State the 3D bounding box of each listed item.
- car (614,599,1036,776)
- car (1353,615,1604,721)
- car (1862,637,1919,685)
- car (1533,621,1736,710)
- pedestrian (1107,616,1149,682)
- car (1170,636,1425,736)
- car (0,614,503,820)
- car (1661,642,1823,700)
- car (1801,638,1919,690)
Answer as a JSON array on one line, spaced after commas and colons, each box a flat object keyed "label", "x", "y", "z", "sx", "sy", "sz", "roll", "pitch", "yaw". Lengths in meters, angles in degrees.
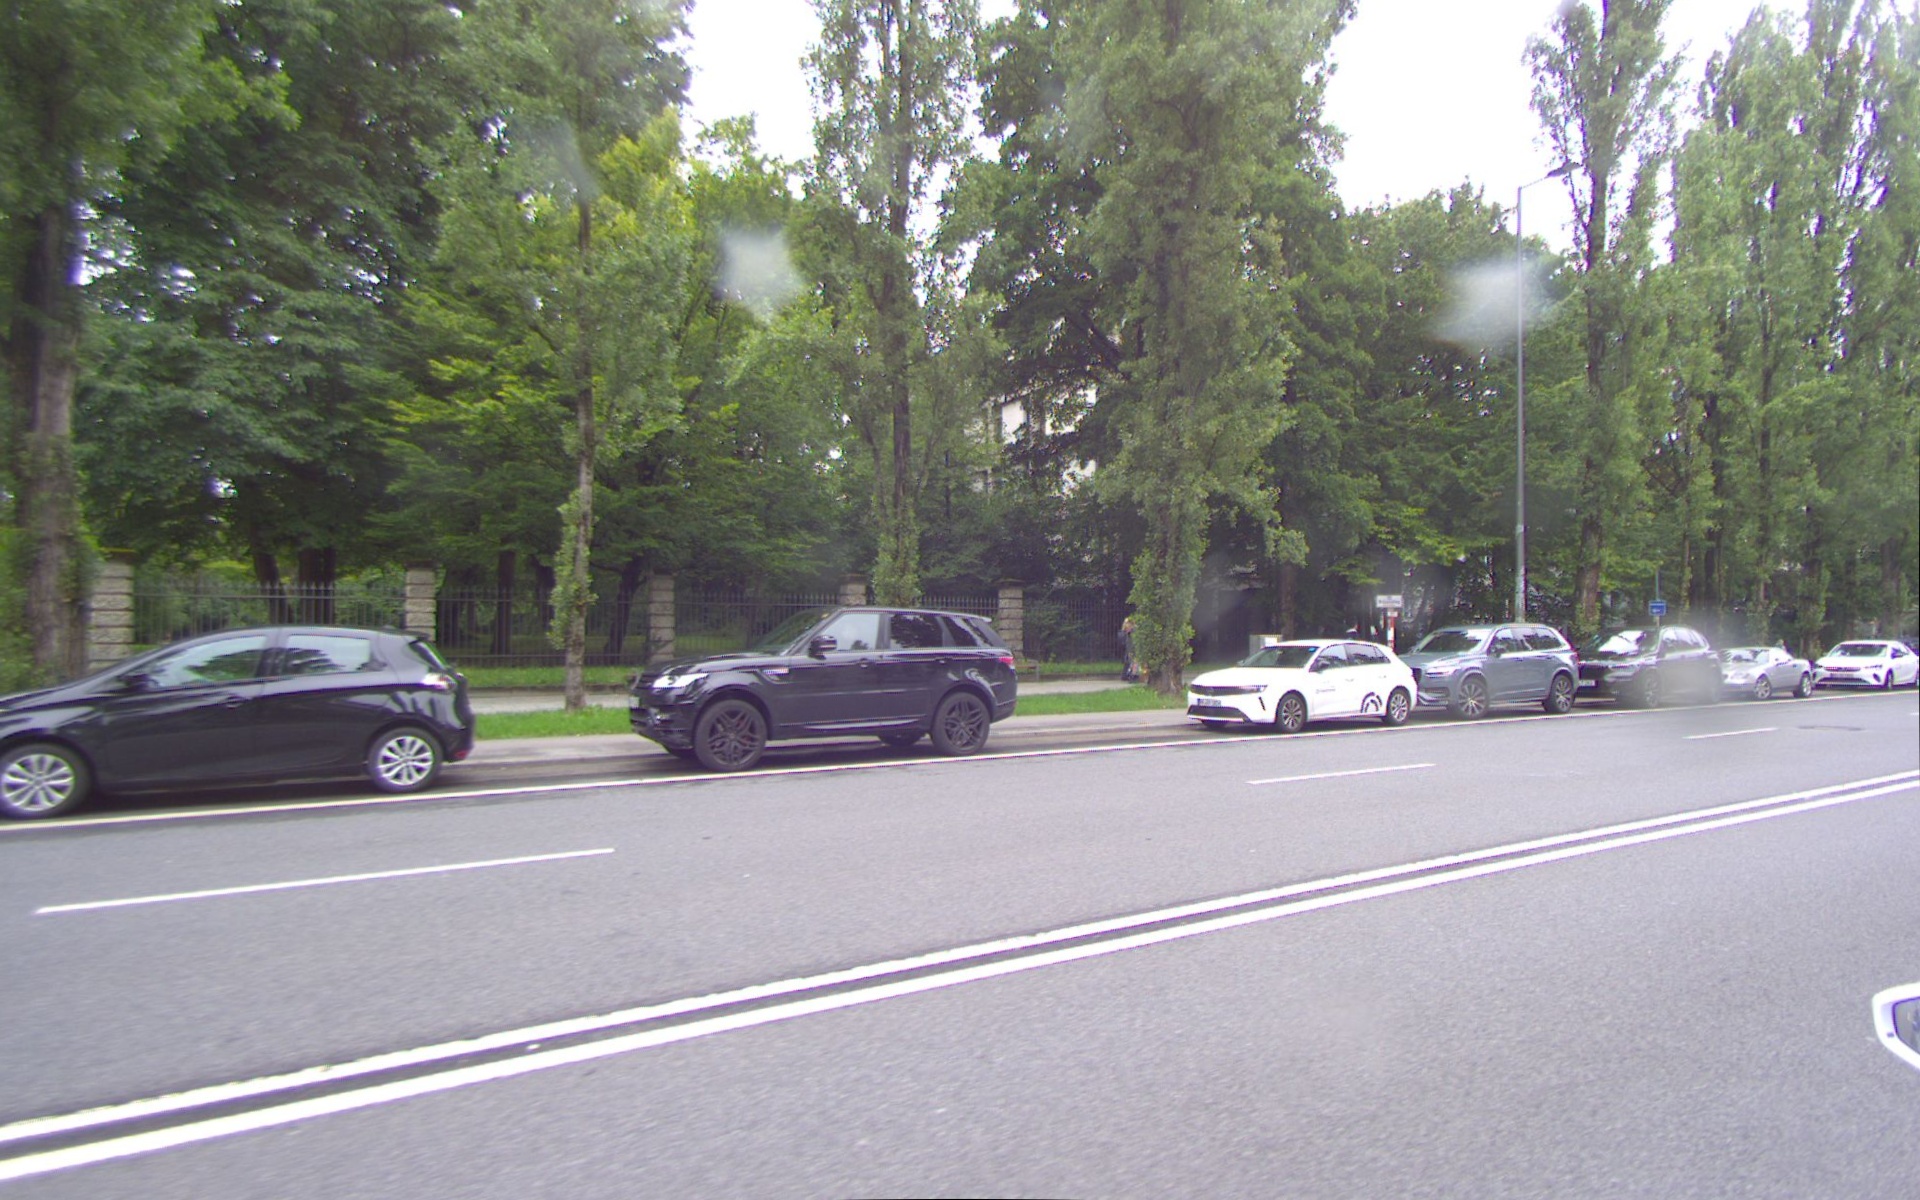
[{"label": "car", "x": -1.601, "y": 1.000, "z": 12.361, "sx": 4.743, "sy": 1.809, "sz": 2.037, "roll": 1, "pitch": -4, "yaw": -30}, {"label": "car", "x": 10.118, "y": 1.287, "z": 19.491, "sx": 5.121, "sy": 1.812, "sz": 1.900, "roll": 1, "pitch": -4, "yaw": -31}, {"label": "car", "x": 30.581, "y": 1.945, "z": 32.059, "sx": 3.546, "sy": 1.470, "sz": 1.701, "roll": 1, "pitch": -4, "yaw": -32}, {"label": "car", "x": 15.077, "y": 1.428, "z": 22.400, "sx": 4.842, "sy": 1.790, "sz": 1.931, "roll": 1, "pitch": -4, "yaw": -32}, {"label": "pedestrian", "x": 4.591, "y": 1.324, "z": 27.487, "sx": 0.946, "sy": 1.764, "sz": 0.663, "roll": 1, "pitch": -1, "yaw": -30}, {"label": "car", "x": 5.661, "y": 1.358, "z": 16.712, "sx": 4.224, "sy": 1.478, "sz": 1.696, "roll": 1, "pitch": -4, "yaw": -31}, {"label": "car", "x": -6.743, "y": 0.987, "z": 9.399, "sx": 4.337, "sy": 1.604, "sz": 1.936, "roll": 1, "pitch": -3, "yaw": -30}, {"label": "car", "x": 19.767, "y": 1.754, "z": 25.364, "sx": 4.185, "sy": 1.351, "sz": 1.818, "roll": 1, "pitch": -4, "yaw": -31}, {"label": "car", "x": 27.093, "y": 1.893, "z": 30.043, "sx": 4.187, "sy": 1.471, "sz": 1.761, "roll": 1, "pitch": -4, "yaw": -32}]
